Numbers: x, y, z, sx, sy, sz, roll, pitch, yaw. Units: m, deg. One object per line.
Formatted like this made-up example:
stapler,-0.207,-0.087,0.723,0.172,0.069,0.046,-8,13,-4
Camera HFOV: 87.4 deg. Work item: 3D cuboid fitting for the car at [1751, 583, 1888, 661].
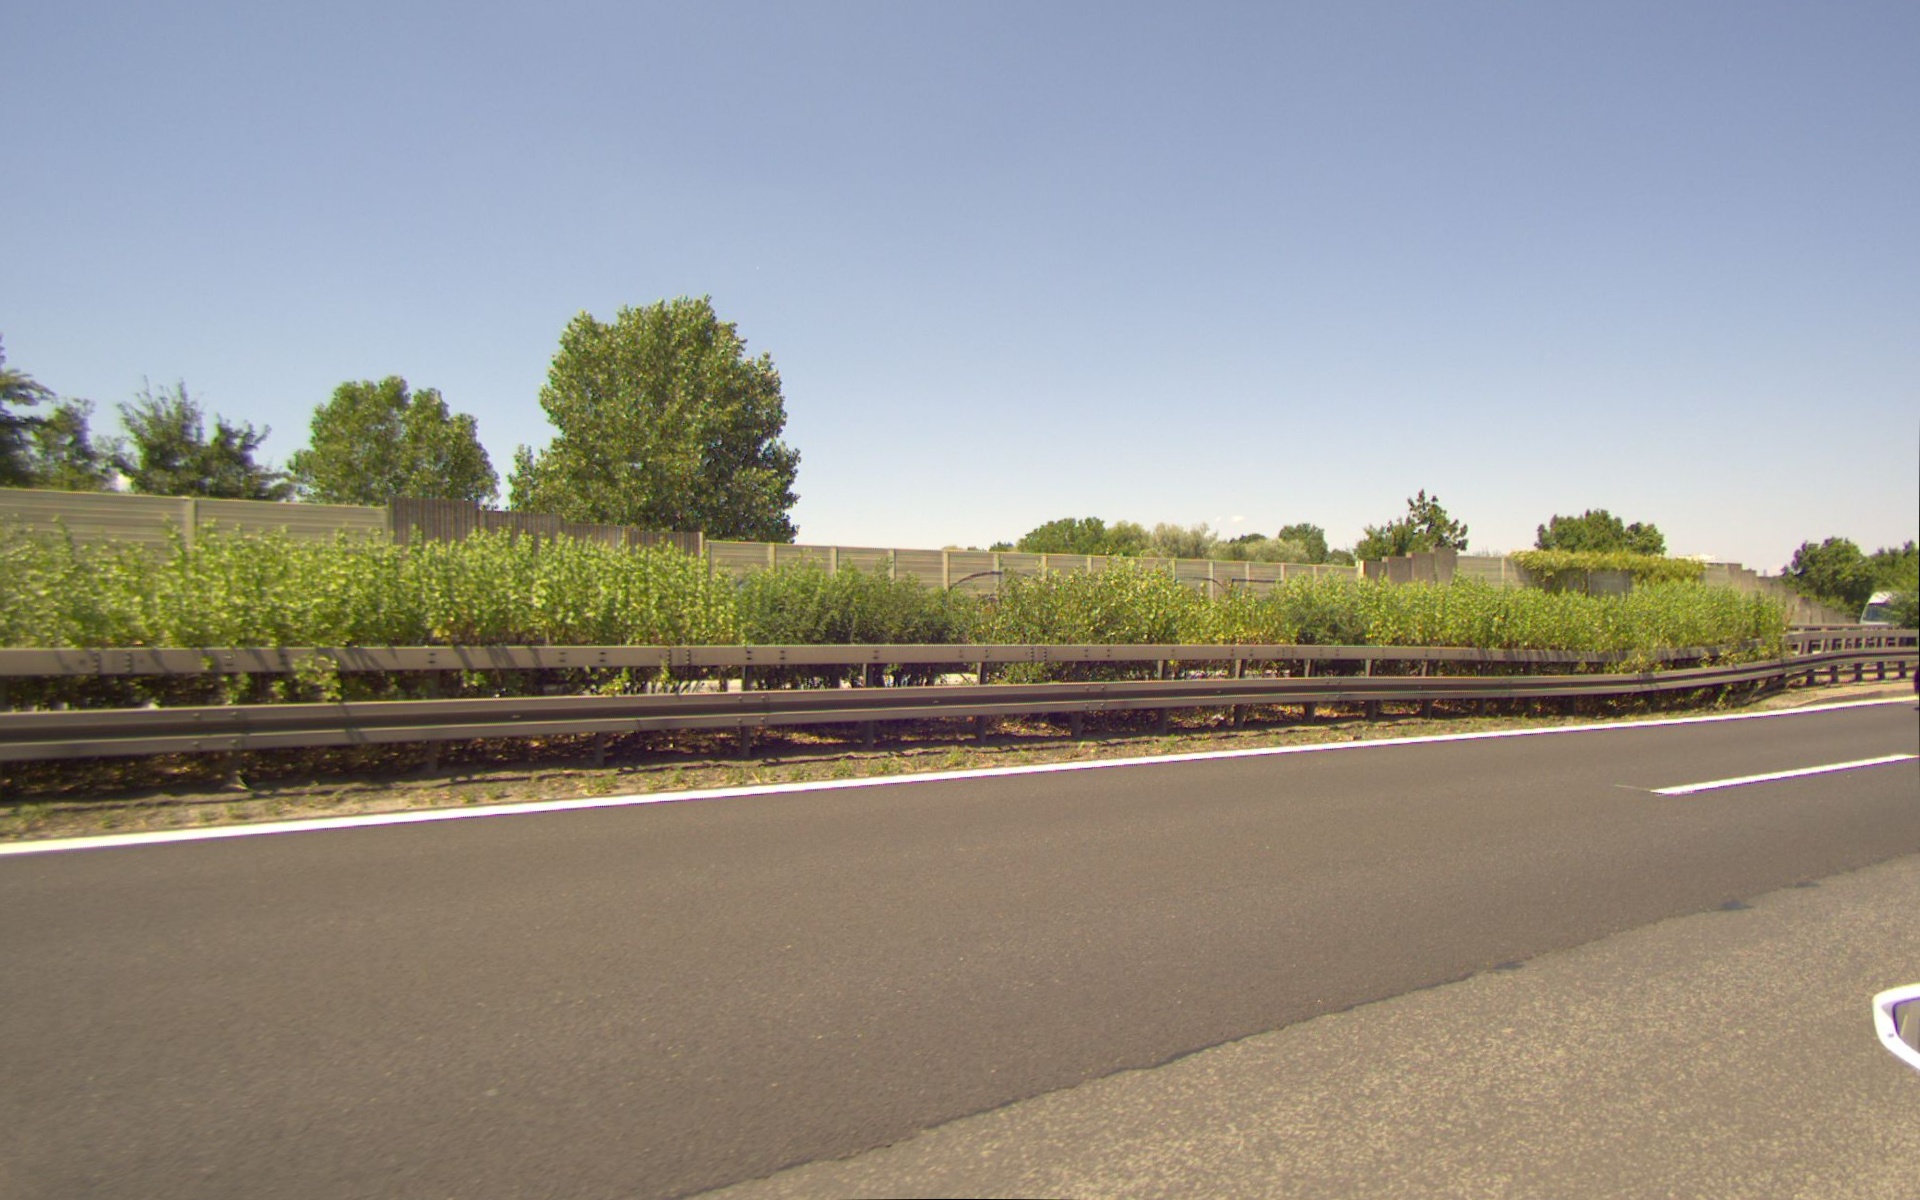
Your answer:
car,33.092,0.845,38.609,6.150,2.795,2.229,1,-1,-32

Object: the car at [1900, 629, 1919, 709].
car,19.706,1.292,18.820,4.981,1.427,1.748,1,-1,-31
